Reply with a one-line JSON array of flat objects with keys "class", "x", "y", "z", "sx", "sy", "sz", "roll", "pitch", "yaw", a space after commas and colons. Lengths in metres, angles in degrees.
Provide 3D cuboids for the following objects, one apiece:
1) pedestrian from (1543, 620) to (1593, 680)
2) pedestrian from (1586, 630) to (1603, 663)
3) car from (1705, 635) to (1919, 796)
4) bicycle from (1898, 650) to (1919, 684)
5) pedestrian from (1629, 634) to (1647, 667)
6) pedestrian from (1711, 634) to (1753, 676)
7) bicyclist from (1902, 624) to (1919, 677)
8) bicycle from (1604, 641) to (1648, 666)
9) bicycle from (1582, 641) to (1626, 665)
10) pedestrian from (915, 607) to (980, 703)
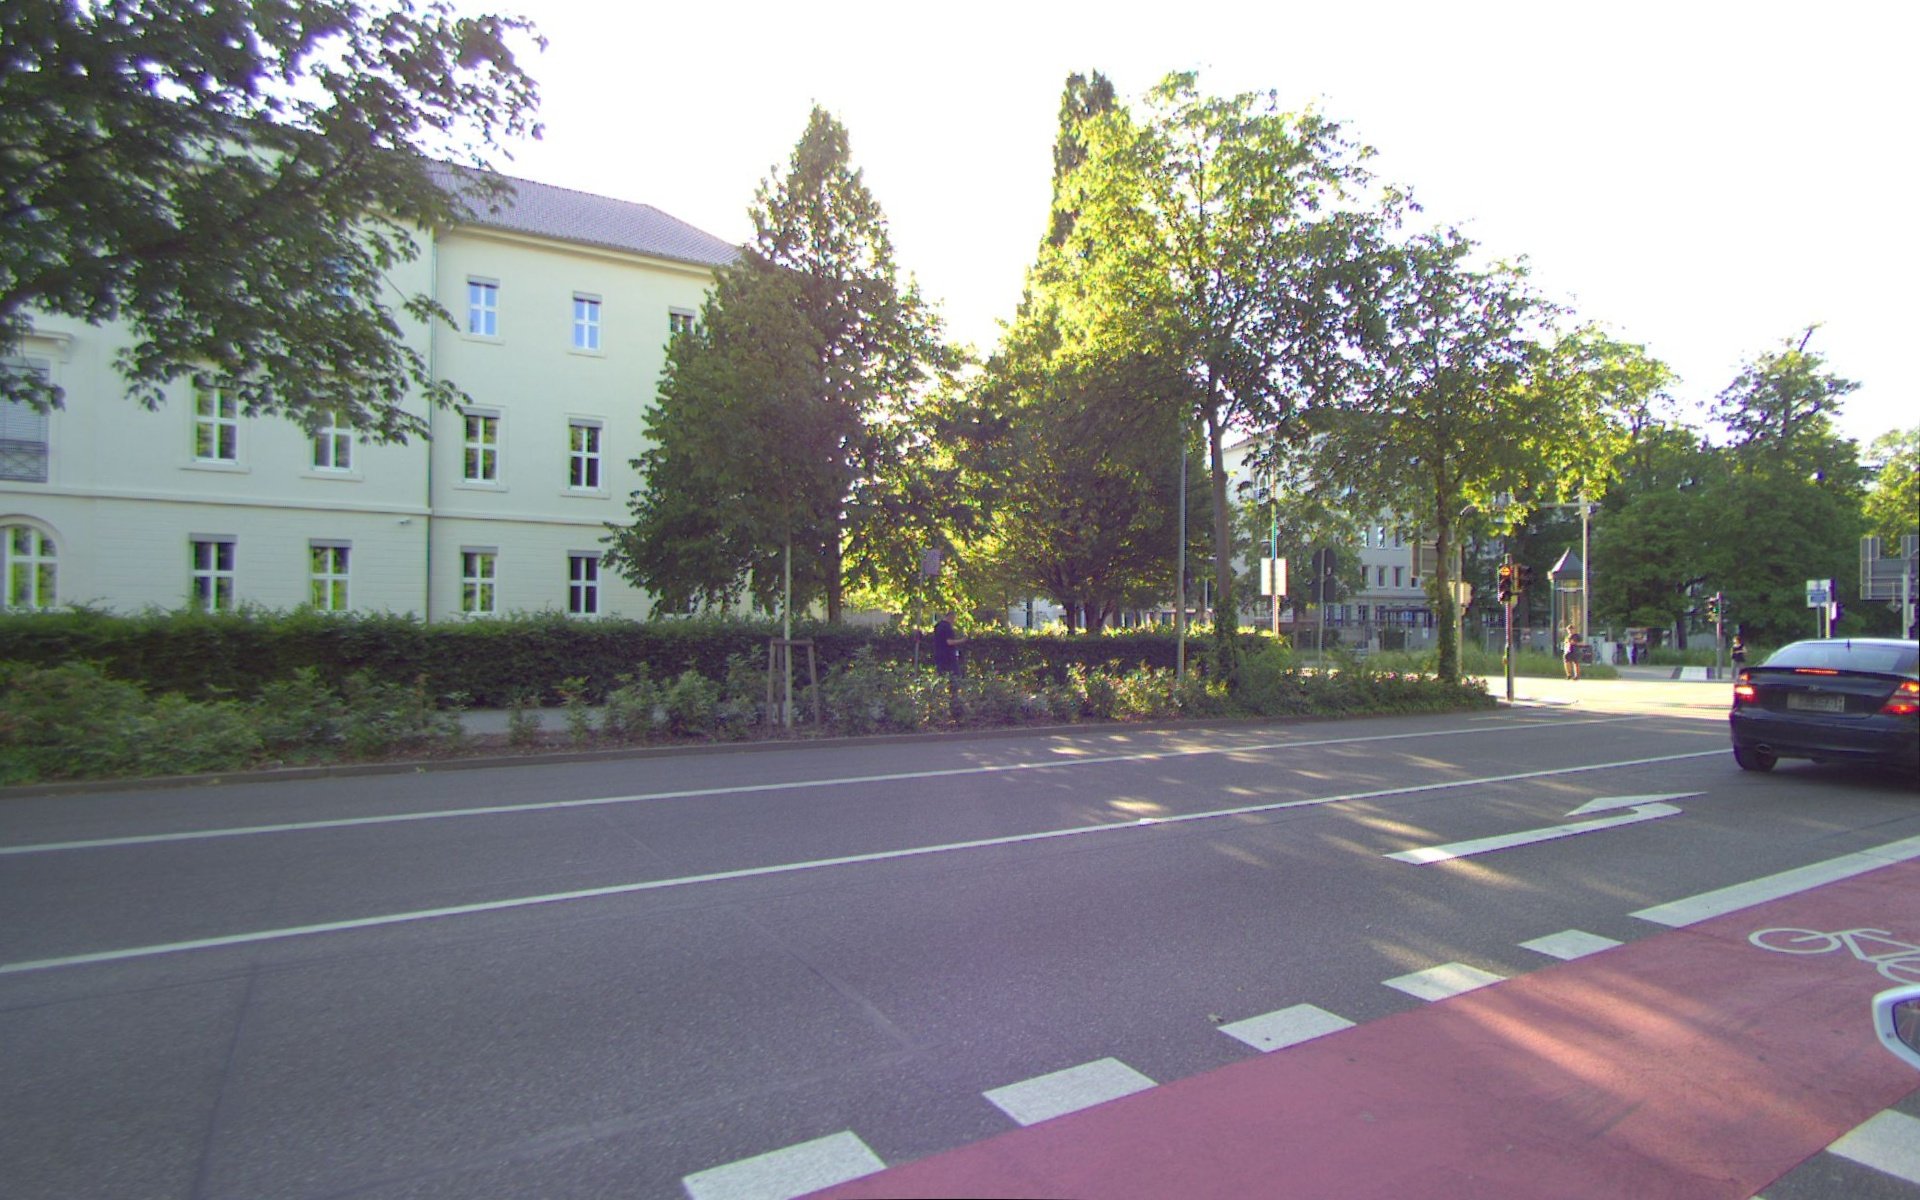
[{"class": "pedestrian", "x": 21.388, "y": 1.752, "z": 35.341, "sx": 1.175, "sy": 2.040, "sz": 0.992, "roll": 2, "pitch": -1, "yaw": -25}, {"class": "pedestrian", "x": 32.231, "y": 2.371, "z": 51.045, "sx": 0.442, "sy": 1.664, "sz": 0.624, "roll": 2, "pitch": -1, "yaw": -39}, {"class": "car", "x": 9.885, "y": 1.086, "z": 10.641, "sx": 4.215, "sy": 1.423, "sz": 1.697, "roll": 1, "pitch": -2, "yaw": -31}, {"class": "bicycle", "x": 30.060, "y": 2.068, "z": 31.137, "sx": 2.473, "sy": 1.002, "sz": 0.661, "roll": 1, "pitch": -2, "yaw": -28}, {"class": "pedestrian", "x": 33.079, "y": 2.450, "z": 49.027, "sx": 0.442, "sy": 1.601, "sz": 0.624, "roll": 2, "pitch": -1, "yaw": -39}, {"class": "pedestrian", "x": 30.446, "y": 2.140, "z": 39.629, "sx": 0.992, "sy": 1.624, "sz": 1.080, "roll": 1, "pitch": -2, "yaw": -36}, {"class": "bicyclist", "x": 30.038, "y": 1.563, "z": 31.146, "sx": 1.173, "sy": 1.629, "sz": 0.871, "roll": 1, "pitch": -2, "yaw": -28}, {"class": "bicycle", "x": 32.938, "y": 2.647, "z": 49.692, "sx": 0.288, "sy": 1.163, "sz": 1.848, "roll": 2, "pitch": -1, "yaw": -36}, {"class": "bicycle", "x": 32.613, "y": 2.672, "z": 50.905, "sx": 0.439, "sy": 1.163, "sz": 1.848, "roll": 2, "pitch": -1, "yaw": -36}, {"class": "pedestrian", "x": -0.236, "y": 1.018, "z": 18.815, "sx": 0.956, "sy": 1.743, "sz": 0.831, "roll": 1, "pitch": -2, "yaw": -28}]
